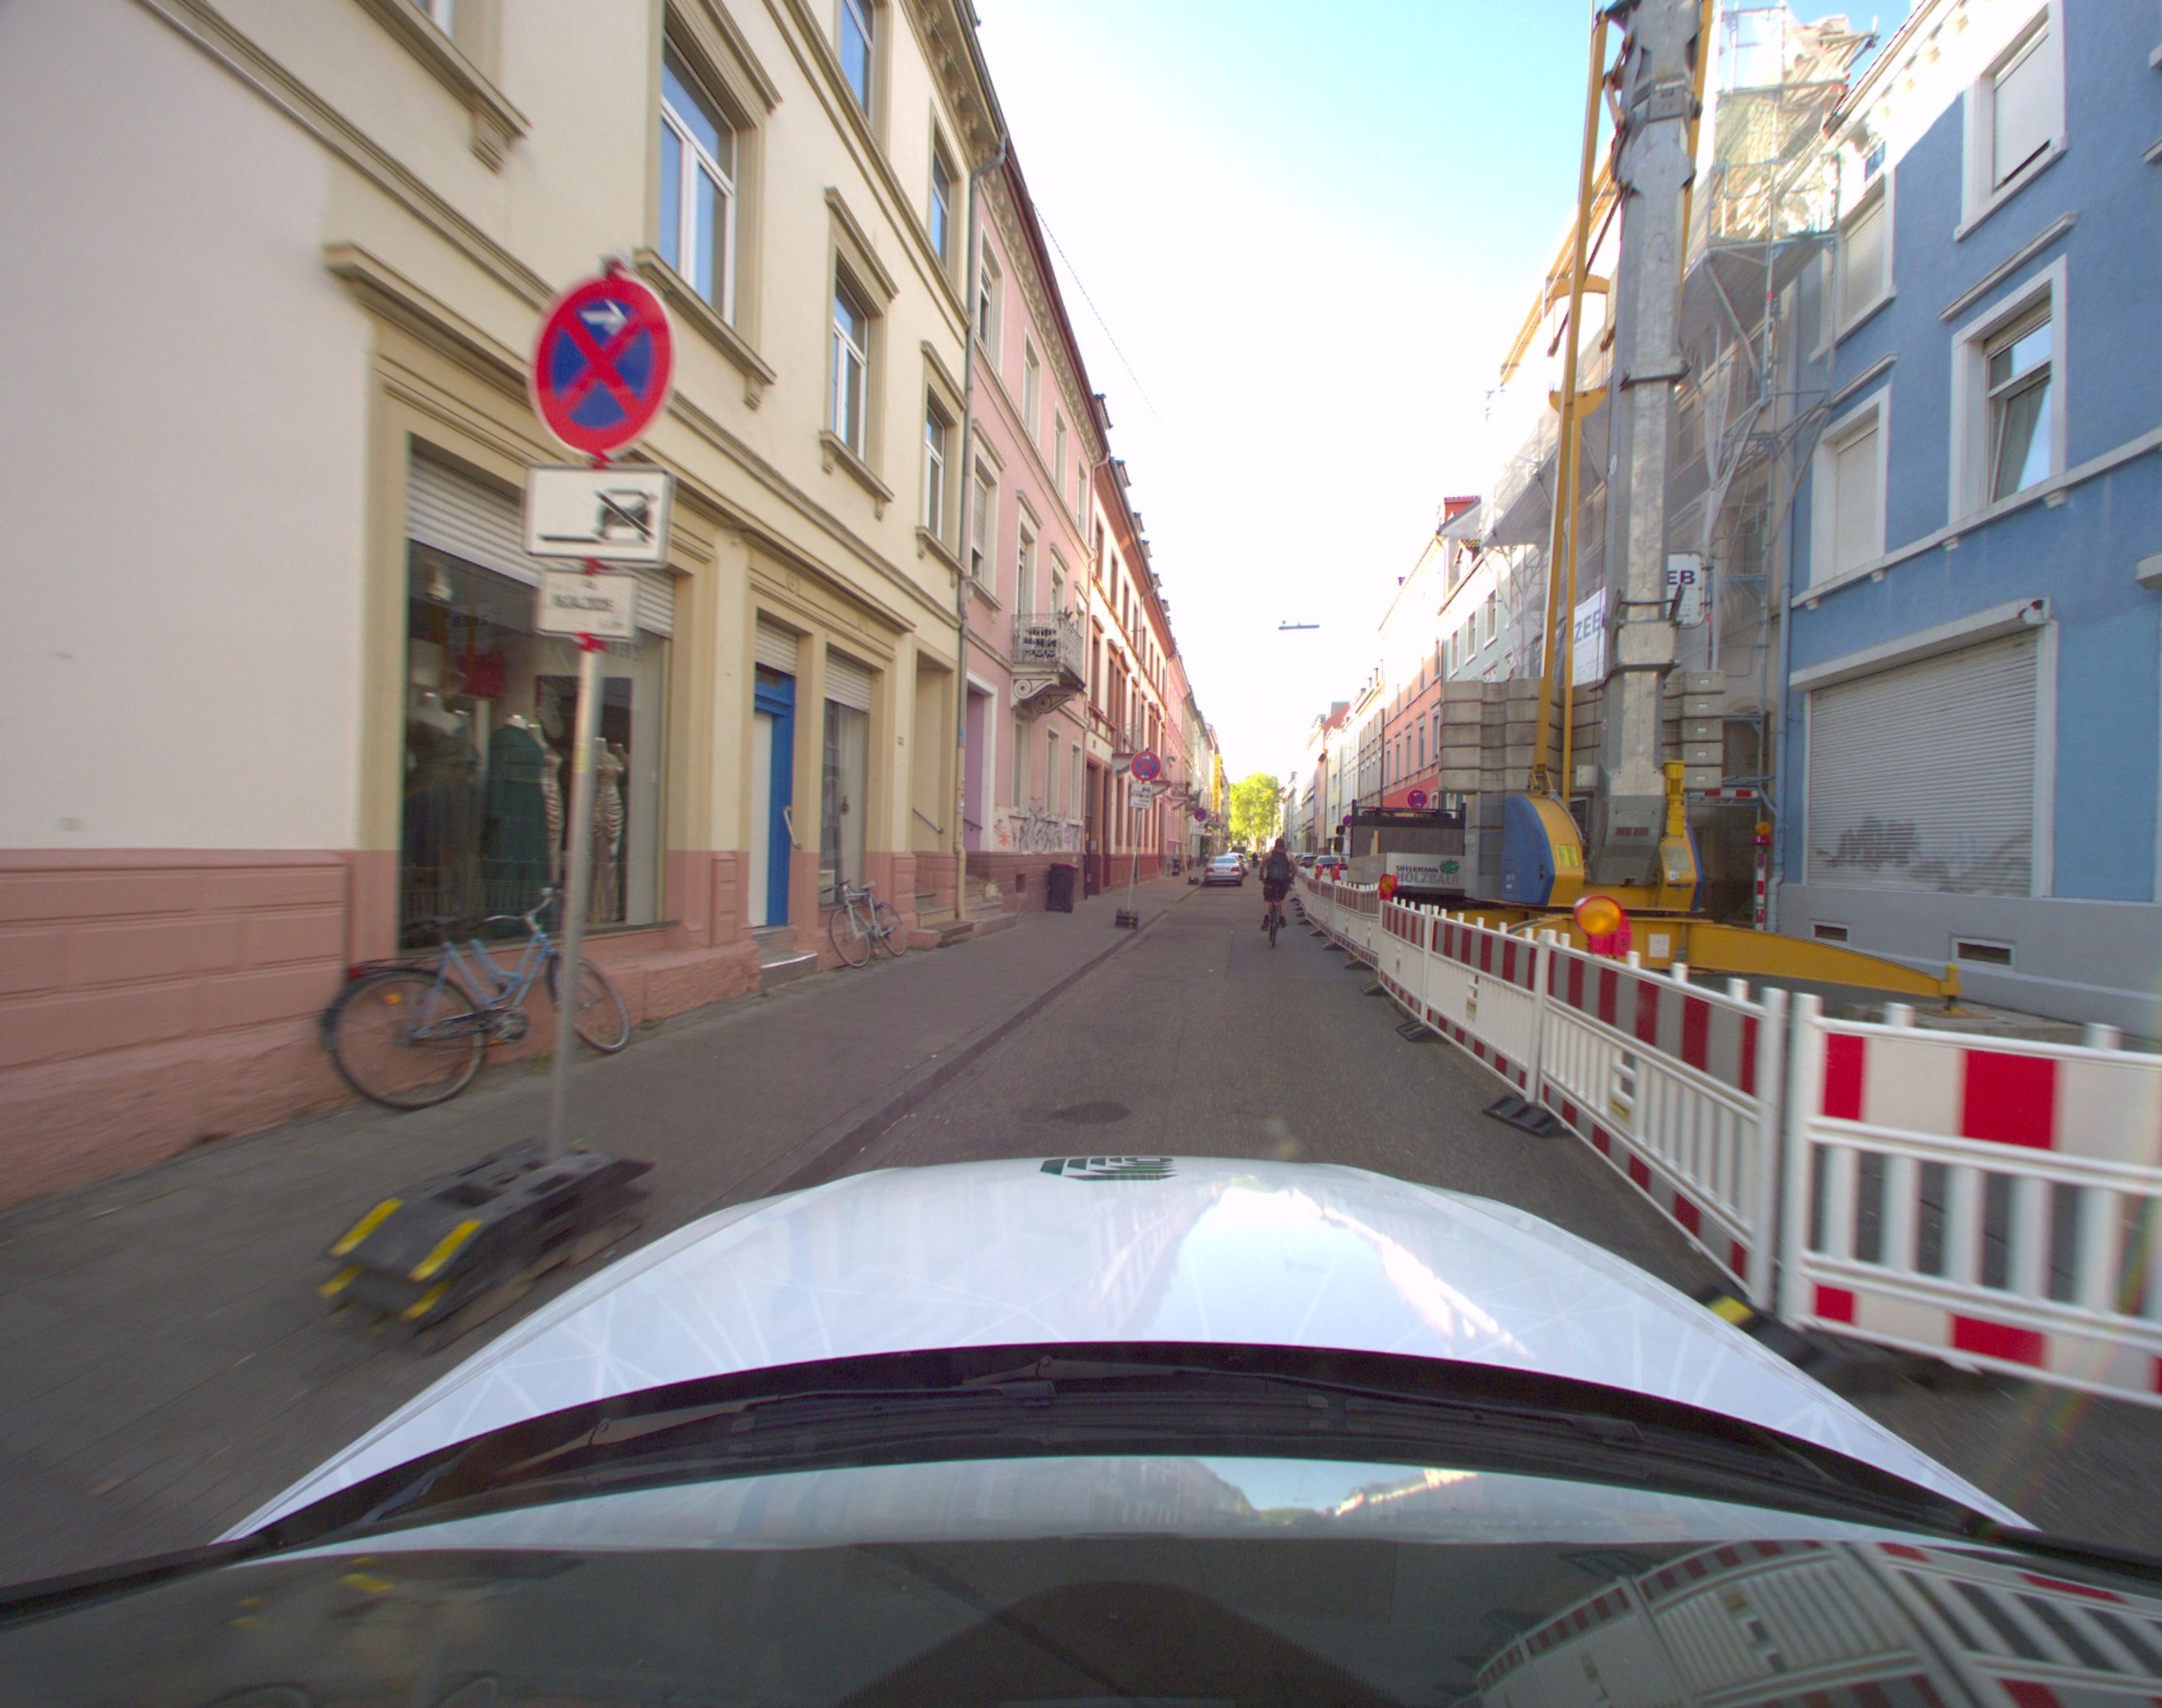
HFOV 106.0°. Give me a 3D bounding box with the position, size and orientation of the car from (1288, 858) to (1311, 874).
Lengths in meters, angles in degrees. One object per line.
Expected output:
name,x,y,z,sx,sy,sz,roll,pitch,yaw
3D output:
car,18.915,1.039,70.665,1.699,1.383,4.012,-1,-1,11

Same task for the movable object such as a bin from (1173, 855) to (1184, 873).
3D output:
movable object such as a bin,5.342,0.531,44.671,0.540,0.944,0.489,2,0,12

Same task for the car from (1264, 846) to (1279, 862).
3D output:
car,32.074,0.002,137.375,2.293,2.538,6.791,-1,-1,11

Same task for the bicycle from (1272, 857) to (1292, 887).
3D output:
bicycle,8.688,0.741,35.264,0.697,1.208,2.349,0,1,11

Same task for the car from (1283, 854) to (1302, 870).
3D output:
car,20.842,0.809,80.343,1.610,1.550,4.012,-1,-1,11

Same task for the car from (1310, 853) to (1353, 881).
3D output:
car,13.597,0.693,44.423,1.805,1.438,4.805,-1,-1,11

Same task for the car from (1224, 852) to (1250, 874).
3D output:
car,10.667,0.615,55.529,1.661,1.442,4.178,-1,-1,11

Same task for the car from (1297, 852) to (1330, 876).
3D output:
car,15.612,0.699,54.889,1.805,1.521,4.012,-1,-1,11

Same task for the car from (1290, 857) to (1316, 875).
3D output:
car,17.777,0.983,65.314,1.699,1.383,4.012,-1,-1,11

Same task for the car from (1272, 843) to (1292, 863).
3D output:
car,27.672,-0.107,112.249,2.293,2.538,6.791,-1,-1,11

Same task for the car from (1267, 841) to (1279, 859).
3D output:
car,43.344,-0.885,183.676,2.293,3.768,6.791,-1,-1,11

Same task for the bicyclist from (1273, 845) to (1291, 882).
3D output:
bicyclist,8.680,0.398,35.232,0.697,1.605,0.815,0,1,11

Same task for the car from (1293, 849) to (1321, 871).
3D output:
car,16.709,0.471,60.445,1.699,1.556,4.012,-1,-1,11

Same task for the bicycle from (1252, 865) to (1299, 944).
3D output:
bicycle,3.283,0.804,13.863,0.697,1.208,2.349,1,-1,12

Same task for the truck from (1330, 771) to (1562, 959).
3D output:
truck,6.743,0.177,16.293,2.644,2.814,7.417,2,0,12

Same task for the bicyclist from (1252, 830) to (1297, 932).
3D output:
bicyclist,3.249,0.440,13.737,0.697,1.633,1.093,1,-1,12

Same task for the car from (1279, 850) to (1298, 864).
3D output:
car,21.766,0.294,85.405,1.699,1.393,4.012,-1,-1,11

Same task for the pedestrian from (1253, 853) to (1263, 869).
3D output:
pedestrian,17.326,0.678,79.744,0.766,1.578,0.902,2,0,9

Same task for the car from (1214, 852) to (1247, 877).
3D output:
car,9.036,0.602,48.965,1.698,1.383,4.372,1,1,14

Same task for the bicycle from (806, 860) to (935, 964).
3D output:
bicycle,-2.312,0.593,9.204,0.618,1.022,1.824,2,0,12

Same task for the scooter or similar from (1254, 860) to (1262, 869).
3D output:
scooter or similar,17.240,1.013,79.297,0.766,0.872,0.773,2,0,9

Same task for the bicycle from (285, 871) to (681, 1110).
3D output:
bicycle,-3.234,0.644,4.679,0.599,1.022,1.824,5,1,12

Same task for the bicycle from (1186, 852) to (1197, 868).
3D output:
bicycle,7.795,0.453,57.438,0.588,1.089,2.085,2,0,12

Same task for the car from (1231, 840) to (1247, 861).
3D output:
car,19.818,-0.442,102.256,1.898,2.497,4.176,0,0,9

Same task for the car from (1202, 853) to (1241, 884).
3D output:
car,6.690,0.673,38.480,1.699,1.383,4.519,-1,-1,11

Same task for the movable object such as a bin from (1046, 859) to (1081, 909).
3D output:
movable object such as a bin,-0.368,0.650,17.677,0.602,1.035,0.598,2,0,10
